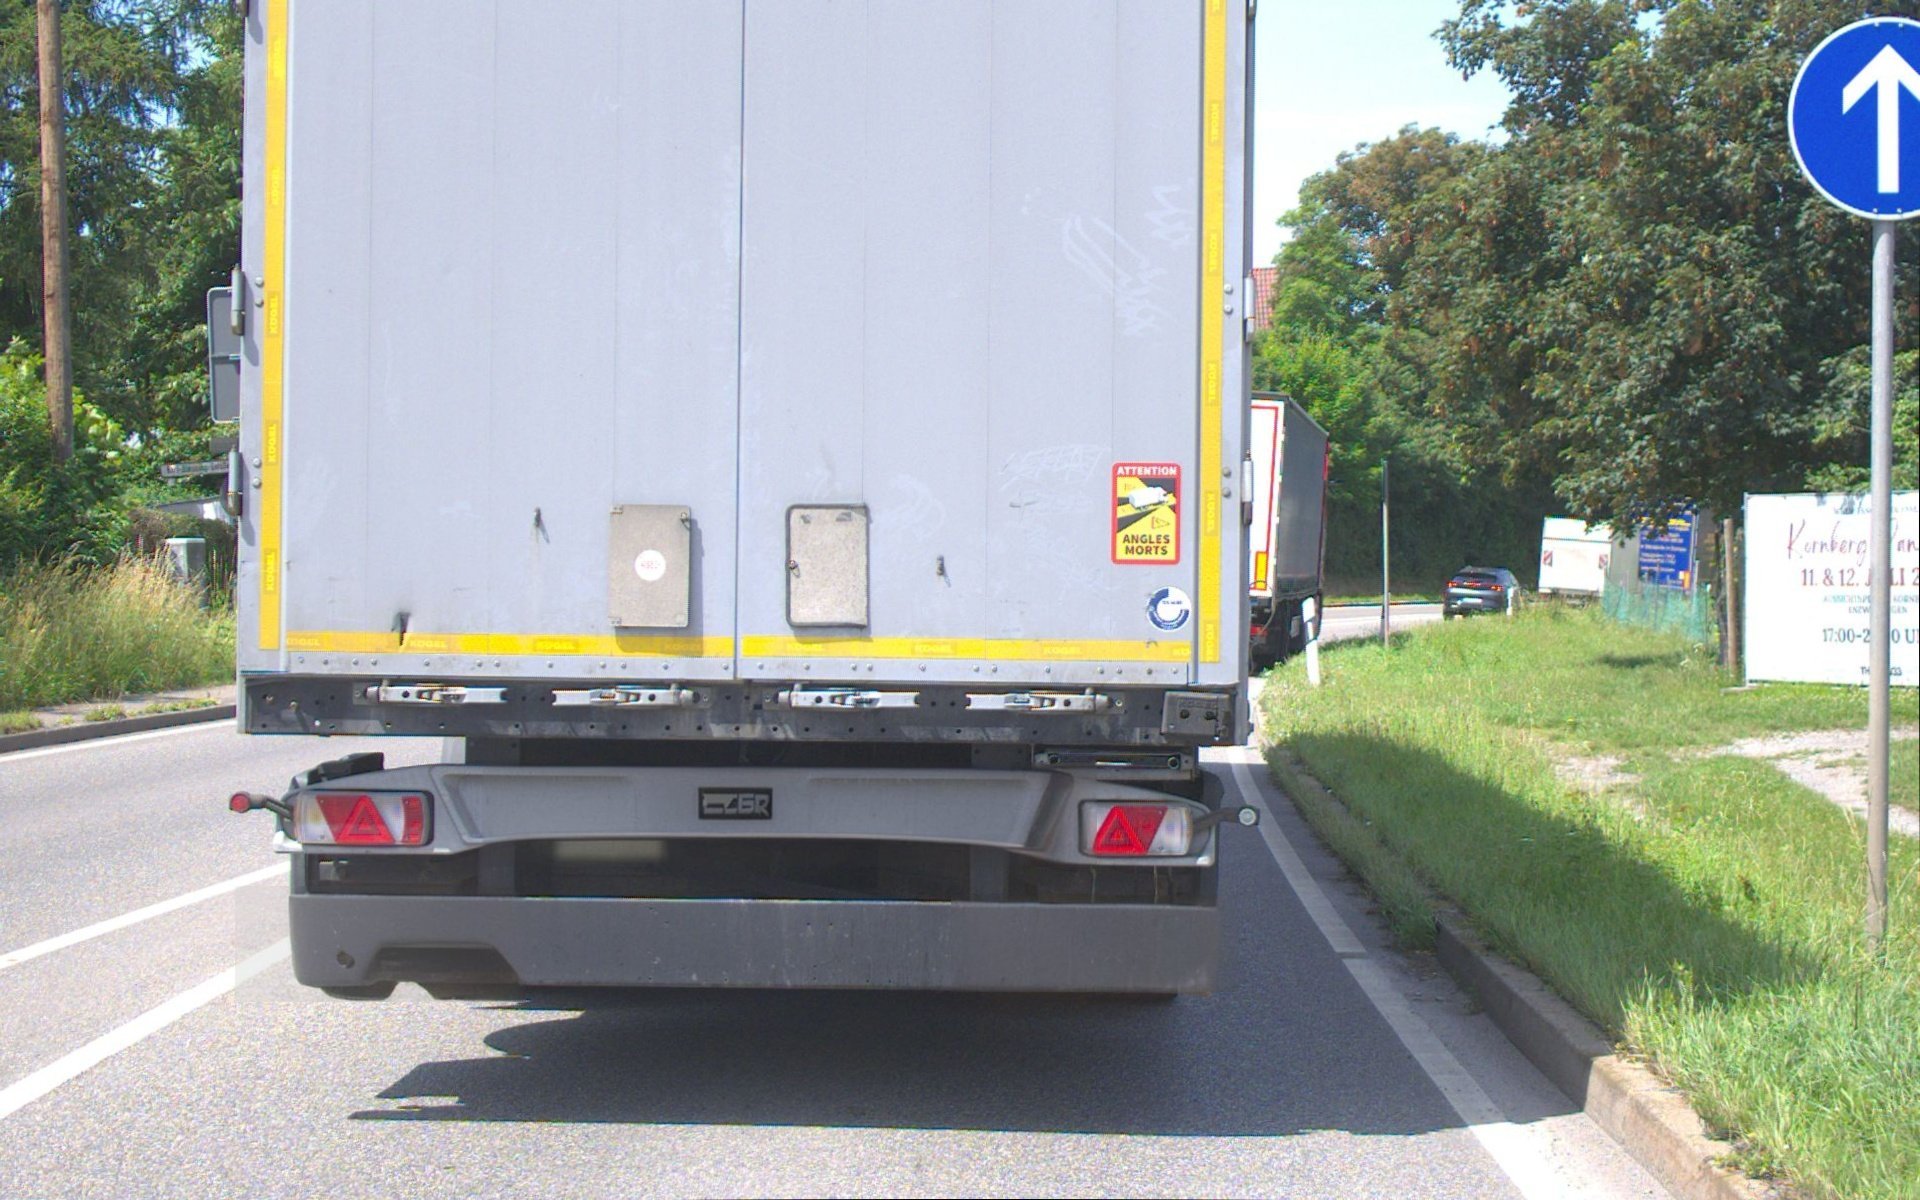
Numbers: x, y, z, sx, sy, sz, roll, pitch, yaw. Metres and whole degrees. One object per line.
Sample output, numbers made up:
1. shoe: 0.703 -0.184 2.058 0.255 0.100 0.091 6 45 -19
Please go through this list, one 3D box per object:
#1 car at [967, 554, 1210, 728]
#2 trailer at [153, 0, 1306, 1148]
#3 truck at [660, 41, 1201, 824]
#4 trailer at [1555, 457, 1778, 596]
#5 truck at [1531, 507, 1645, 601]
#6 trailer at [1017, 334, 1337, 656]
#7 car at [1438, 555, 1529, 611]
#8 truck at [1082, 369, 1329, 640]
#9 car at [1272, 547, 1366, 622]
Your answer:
1. car: 1.293 0.337 32.887 1.994 1.525 3.999 1 1 7
2. trailer: -0.310 -0.931 14.344 2.787 4.191 12.111 0 1 2
3. truck: 0.041 -0.976 21.436 2.746 4.151 6.142 1 1 5
4. trailer: 25.397 -2.664 122.516 5.185 4.612 15.879 1 2 21
5. truck: 19.542 -1.472 106.745 2.423 2.828 5.406 1 2 22
6. trailer: 3.727 -1.651 54.646 3.892 4.505 12.709 0 2 9
7. car: 14.578 -0.491 95.611 1.843 1.481 3.997 1 1 18
8. truck: 4.509 -1.666 61.496 3.938 4.559 7.150 0 1 8
9. car: 9.230 -0.426 88.165 1.994 1.831 3.998 1 2 12
